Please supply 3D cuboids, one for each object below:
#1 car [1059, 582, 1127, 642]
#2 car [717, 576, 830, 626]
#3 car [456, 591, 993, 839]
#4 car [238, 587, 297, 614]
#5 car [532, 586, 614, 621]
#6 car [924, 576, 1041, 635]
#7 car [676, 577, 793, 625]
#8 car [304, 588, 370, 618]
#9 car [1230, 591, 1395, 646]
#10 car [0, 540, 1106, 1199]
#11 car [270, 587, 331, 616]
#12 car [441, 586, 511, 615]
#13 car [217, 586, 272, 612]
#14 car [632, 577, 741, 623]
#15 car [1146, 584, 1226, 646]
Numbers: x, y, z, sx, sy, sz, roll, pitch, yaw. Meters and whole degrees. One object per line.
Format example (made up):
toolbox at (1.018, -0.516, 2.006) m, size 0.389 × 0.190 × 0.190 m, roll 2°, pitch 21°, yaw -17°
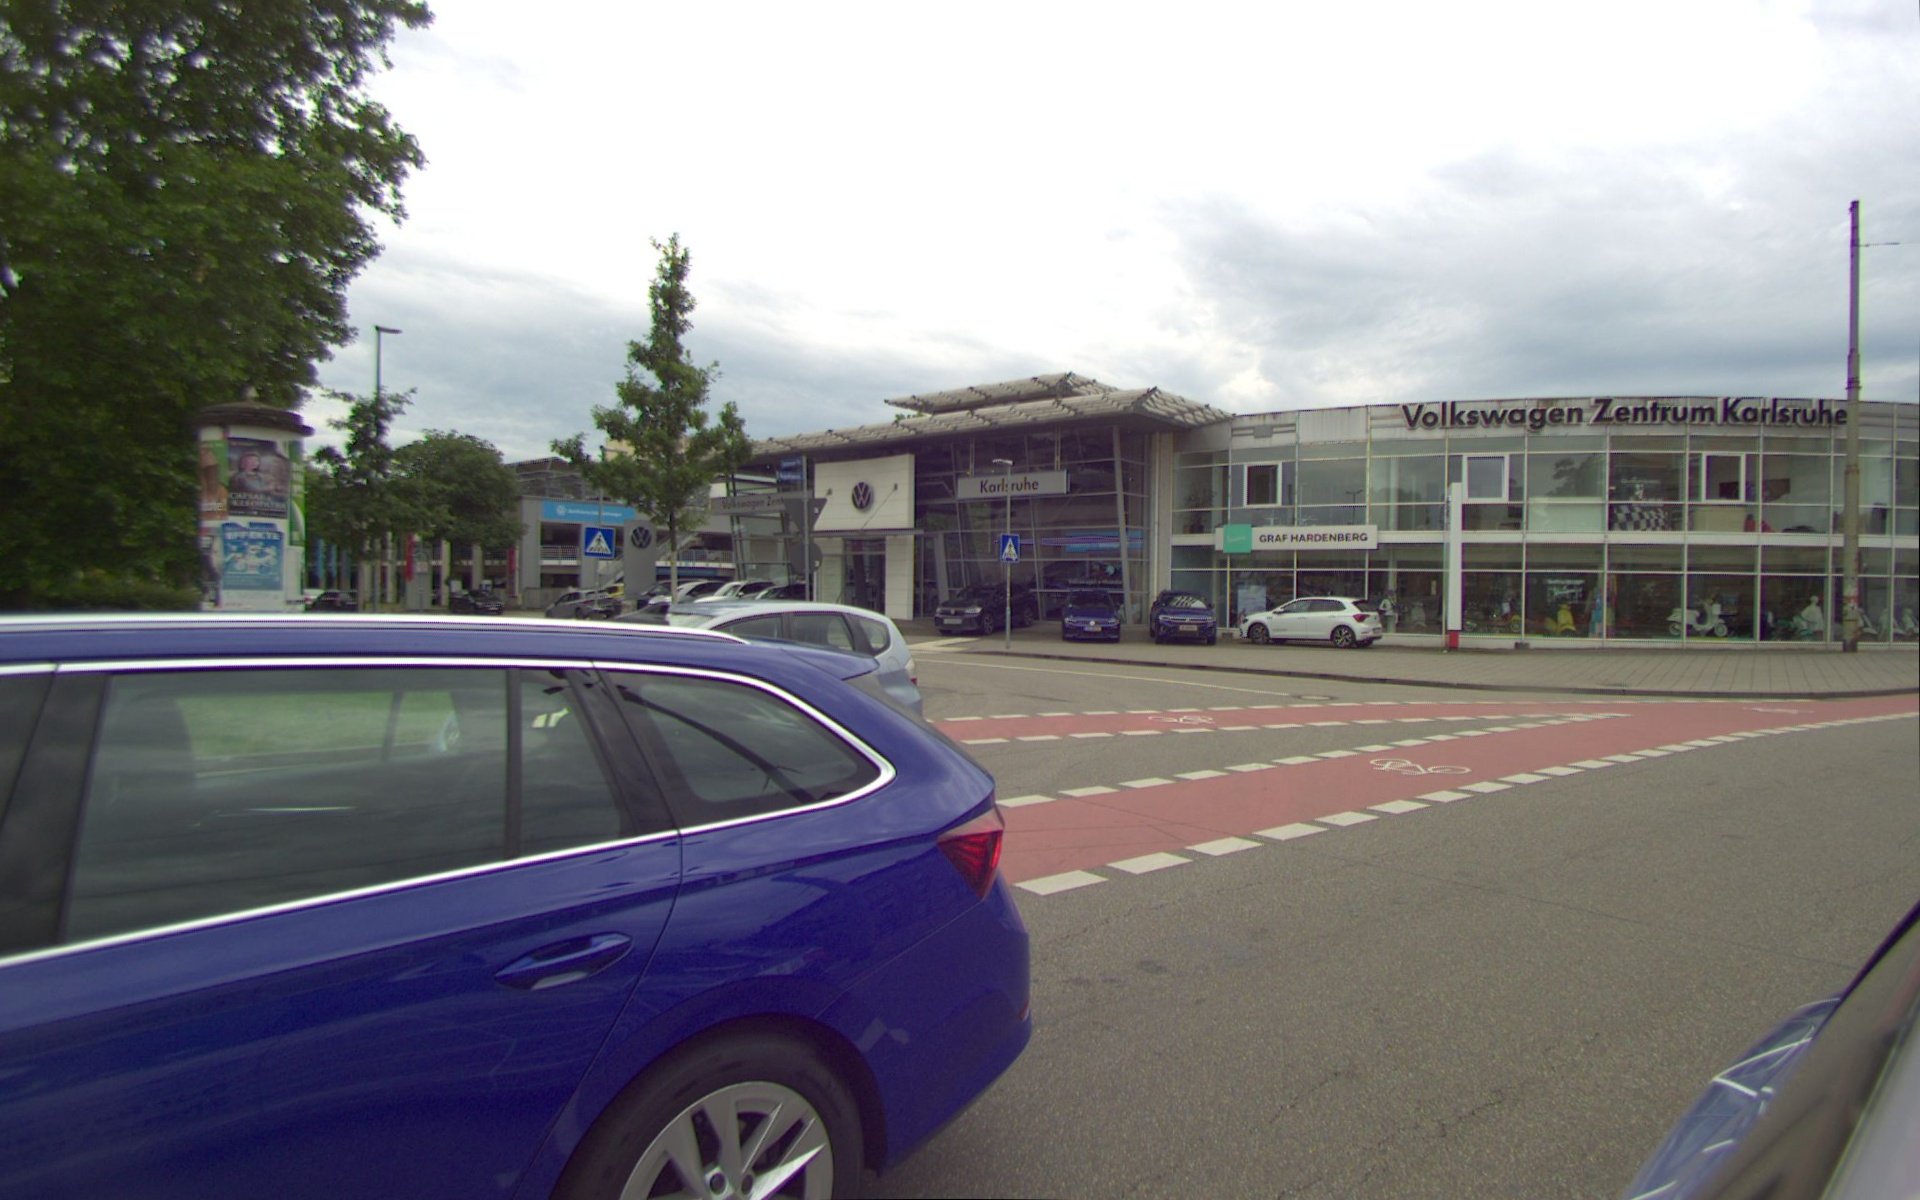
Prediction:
car at (4.061, 0.317, 31.414) m, size 1.825 × 1.522 × 4.337 m, roll 0°, pitch 4°, yaw 4°
car at (-7.586, -0.001, 41.541) m, size 1.887 × 1.717 × 4.417 m, roll 0°, pitch 4°, yaw 38°
car at (-1.666, 0.687, 8.260) m, size 1.747 × 1.485 × 4.038 m, roll 1°, pitch 1°, yaw 40°
car at (-45.332, -0.015, 66.224) m, size 4.450 × 1.643 × 1.837 m, roll 1°, pitch 2°, yaw 37°
car at (-18.629, 0.159, 48.663) m, size 3.991 × 1.583 × 1.894 m, roll 0°, pitch 1°, yaw 37°
car at (0.845, 0.124, 34.263) m, size 1.847 × 1.652 × 4.459 m, roll -1°, pitch 3°, yaw 33°
car at (-9.597, -0.010, 43.373) m, size 1.852 × 1.720 × 4.711 m, roll 0°, pitch 4°, yaw 39°
car at (-36.635, 0.153, 59.444) m, size 4.450 × 1.643 × 1.837 m, roll 1°, pitch 2°, yaw 37°
car at (10.282, 0.484, 29.711) m, size 4.246 × 1.471 × 1.756 m, roll 1°, pitch 0°, yaw 42°
car at (-1.916, 0.665, 1.794) m, size 4.384 × 1.507 × 1.784 m, roll -1°, pitch 1°, yaw -38°
car at (-41.146, 0.060, 63.113) m, size 4.450 × 1.643 × 1.837 m, roll 1°, pitch 2°, yaw 37°
car at (-28.538, 0.013, 59.644) m, size 4.450 × 1.567 × 1.874 m, roll 1°, pitch 2°, yaw 37°
car at (-49.063, -0.095, 69.413) m, size 4.450 × 1.643 × 1.837 m, roll 1°, pitch 2°, yaw 37°
car at (-12.111, -0.048, 45.077) m, size 1.861 × 1.720 × 4.415 m, roll 0°, pitch 4°, yaw 39°
car at (6.731, 0.385, 30.539) m, size 1.868 × 1.581 × 4.216 m, roll 0°, pitch 3°, yaw 6°
